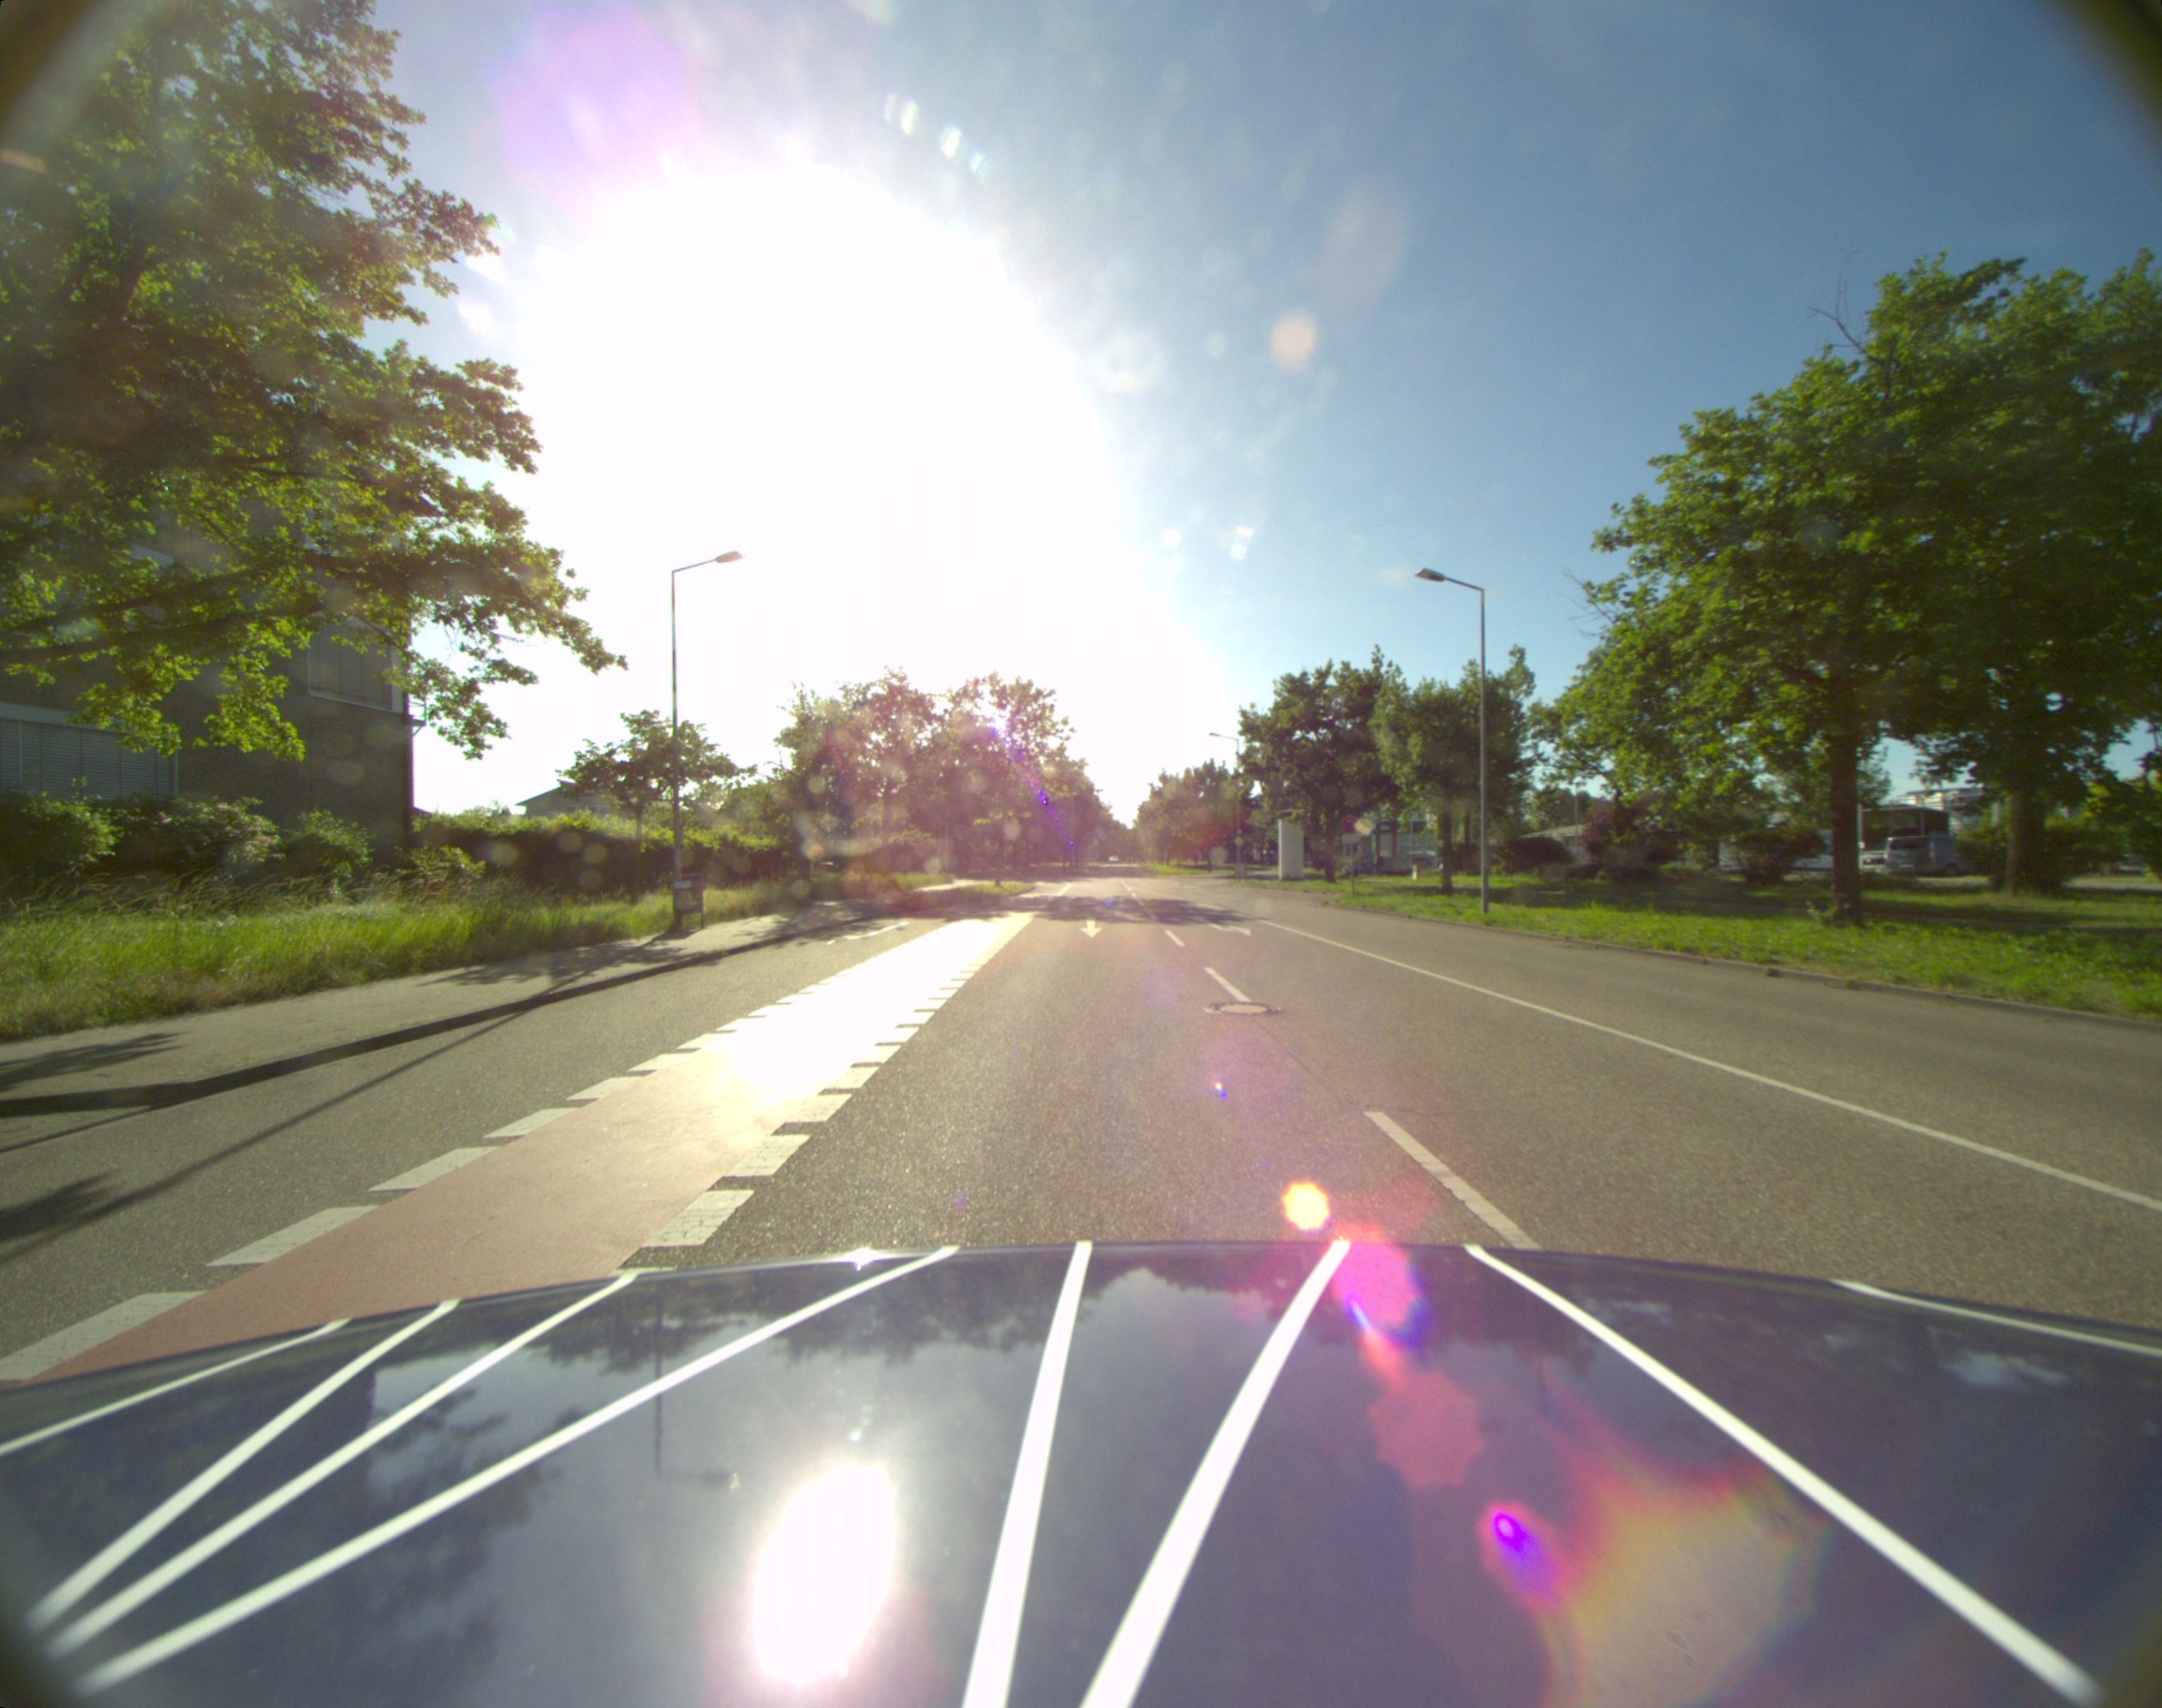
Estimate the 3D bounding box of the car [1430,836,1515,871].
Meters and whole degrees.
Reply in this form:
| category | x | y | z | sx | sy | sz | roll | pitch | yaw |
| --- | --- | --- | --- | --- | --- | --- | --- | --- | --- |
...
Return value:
| category | x | y | z | sx | sy | sz | roll | pitch | yaw |
| --- | --- | --- | --- | --- | --- | --- | --- | --- | --- |
| car | 32.529 | -0.051 | 63.250 | 5.878 | 2.687 | 2.300 | -2 | 1 | -3 |

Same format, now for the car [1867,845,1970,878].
| category | x | y | z | sx | sy | sz | roll | pitch | yaw |
| --- | --- | --- | --- | --- | --- | --- | --- | --- | --- |
| car | 50.135 | 0.432 | 45.542 | 4.251 | 1.874 | 1.885 | -1 | 0 | -3 |

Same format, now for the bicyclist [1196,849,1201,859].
| category | x | y | z | sx | sy | sz | roll | pitch | yaw |
| --- | --- | --- | --- | --- | --- | --- | --- | --- | --- |
| bicyclist | 19.652 | 0.053 | 126.839 | 0.665 | 1.619 | 0.659 | -2 | 1 | 3 |

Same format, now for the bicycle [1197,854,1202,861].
| category | x | y | z | sx | sy | sz | roll | pitch | yaw |
| --- | --- | --- | --- | --- | --- | --- | --- | --- | --- |
| bicycle | 19.698 | 0.606 | 126.729 | 0.552 | 1.155 | 2.334 | -2 | 1 | 3 |

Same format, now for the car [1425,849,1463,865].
| category | x | y | z | sx | sy | sz | roll | pitch | yaw |
| --- | --- | --- | --- | --- | --- | --- | --- | --- | --- |
| car | 39.545 | 0.271 | 82.899 | 1.998 | 1.486 | 4.296 | -2 | 2 | 0 |

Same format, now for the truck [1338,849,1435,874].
| category | x | y | z | sx | sy | sz | roll | pitch | yaw |
| --- | --- | --- | --- | --- | --- | --- | --- | --- | --- |
| truck | 25.044 | 0.606 | 62.459 | 7.130 | 2.038 | 2.140 | 0 | 1 | -2 |

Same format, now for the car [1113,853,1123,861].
| category | x | y | z | sx | sy | sz | roll | pitch | yaw |
| --- | --- | --- | --- | --- | --- | --- | --- | --- | --- |
| car | 7.422 | 0.541 | 153.881 | 1.827 | 1.477 | 3.999 | -2 | 1 | 1 |

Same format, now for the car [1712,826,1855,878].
| category | x | y | z | sx | sy | sz | roll | pitch | yaw |
| --- | --- | --- | --- | --- | --- | --- | --- | --- | --- |
| car | 39.871 | -0.137 | 43.219 | 6.176 | 2.687 | 2.300 | -2 | 1 | -3 |

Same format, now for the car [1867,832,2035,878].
| category | x | y | z | sx | sy | sz | roll | pitch | yaw |
| --- | --- | --- | --- | --- | --- | --- | --- | --- | --- |
| car | 40.333 | 0.040 | 35.327 | 5.424 | 2.058 | 2.300 | -1 | 0 | -3 |

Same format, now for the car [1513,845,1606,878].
| category | x | y | z | sx | sy | sz | roll | pitch | yaw |
| --- | --- | --- | --- | --- | --- | --- | --- | --- | --- |
| car | 39.966 | 0.600 | 63.526 | 6.356 | 2.501 | 2.300 | -2 | 1 | -3 |

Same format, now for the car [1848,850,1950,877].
| category | x | y | z | sx | sy | sz | roll | pitch | yaw |
| --- | --- | --- | --- | --- | --- | --- | --- | --- | --- |
| car | 41.146 | 0.475 | 38.266 | 3.532 | 1.294 | 1.574 | -1 | 0 | -2 |
